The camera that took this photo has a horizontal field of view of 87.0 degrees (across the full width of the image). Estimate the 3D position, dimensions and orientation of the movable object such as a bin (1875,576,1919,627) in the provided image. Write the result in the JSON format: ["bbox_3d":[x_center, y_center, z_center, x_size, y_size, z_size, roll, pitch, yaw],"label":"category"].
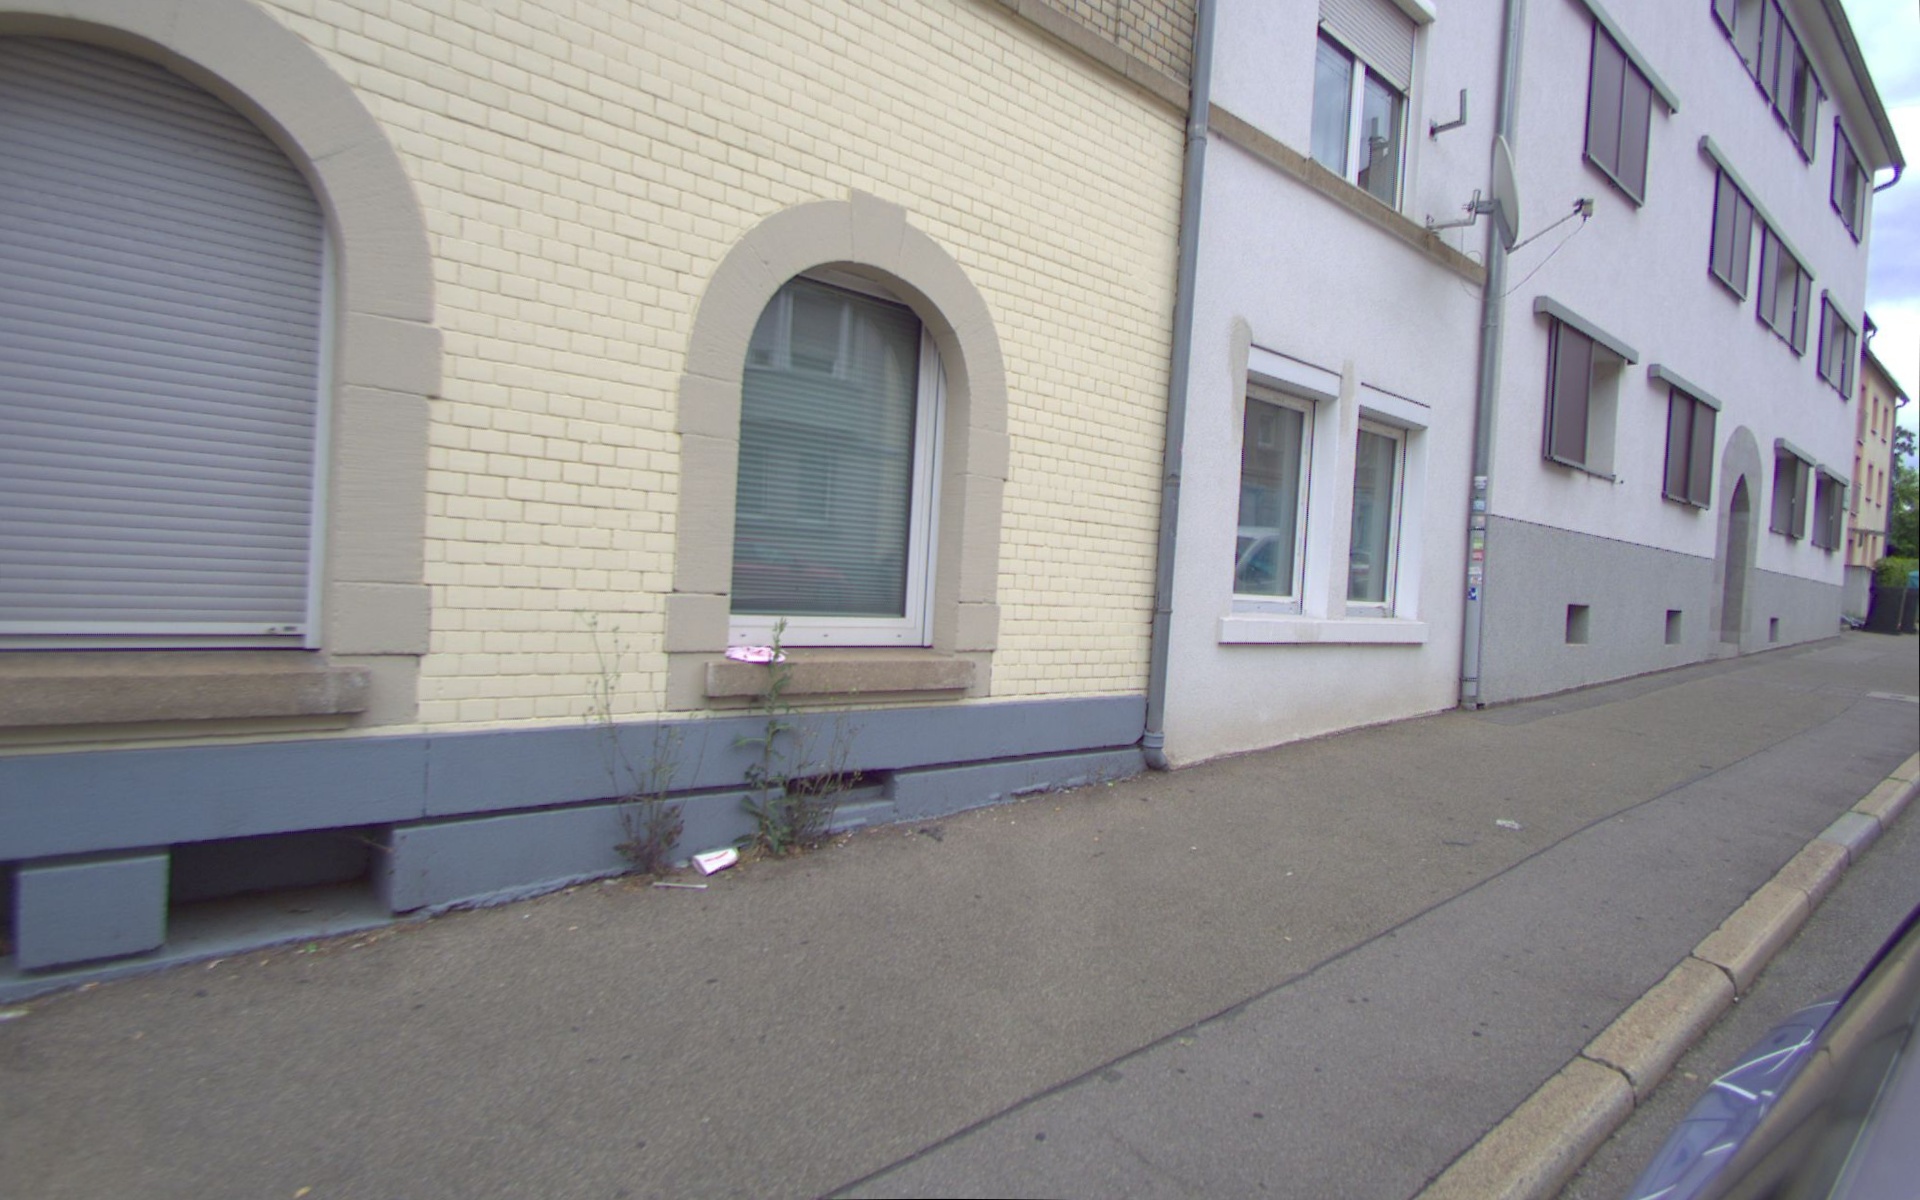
[{"bbox_3d":[20.116,0.029,21.638,0.592,1.021,0.638,0,6,-40],"label":"movable object such as a bin"}]

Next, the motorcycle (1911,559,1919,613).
[{"bbox_3d":[26.042,-0.329,26.772,1.899,1.406,0.733,0,6,-34],"label":"motorcycle"}]

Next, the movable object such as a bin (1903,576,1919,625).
[{"bbox_3d":[20.891,0.022,21.923,0.563,1.021,0.491,8,6,41],"label":"movable object such as a bin"}]
